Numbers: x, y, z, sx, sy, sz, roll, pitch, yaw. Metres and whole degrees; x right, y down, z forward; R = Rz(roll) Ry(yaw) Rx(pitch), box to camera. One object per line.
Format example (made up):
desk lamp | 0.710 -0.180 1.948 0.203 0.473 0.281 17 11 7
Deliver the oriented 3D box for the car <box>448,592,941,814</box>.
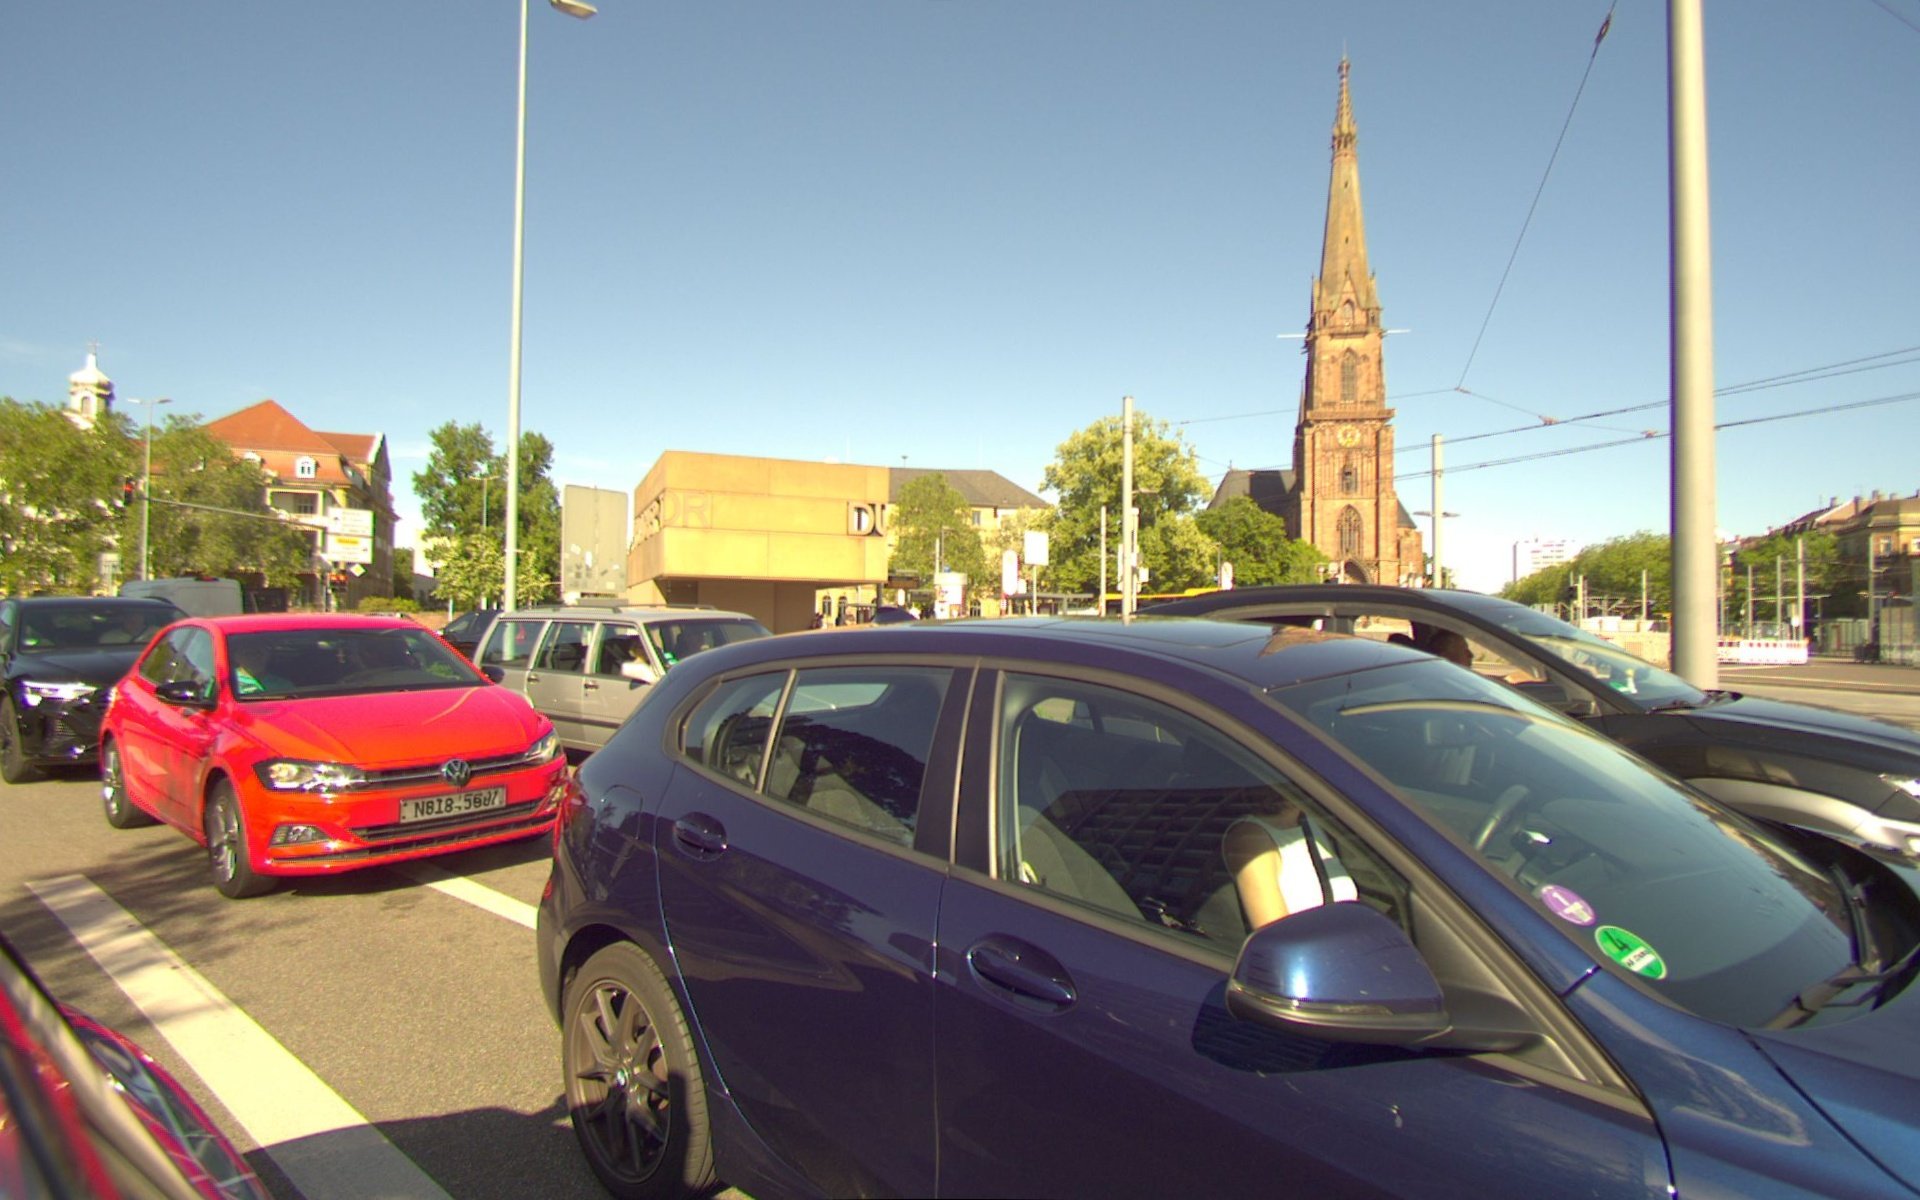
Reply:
car | -2.549 0.743 8.971 4.745 1.484 1.692 -2 0 38

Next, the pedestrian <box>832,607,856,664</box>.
pedestrian | -3.677 1.114 32.077 0.659 1.802 0.645 0 0 3

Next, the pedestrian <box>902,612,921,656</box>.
pedestrian | -1.990 1.404 41.786 0.634 1.789 0.470 1 -2 -29

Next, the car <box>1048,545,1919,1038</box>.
car | 2.528 0.618 4.780 4.010 1.529 1.738 -1 -1 44

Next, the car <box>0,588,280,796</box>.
car | -8.658 0.763 10.054 4.446 1.627 1.836 -1 -2 38

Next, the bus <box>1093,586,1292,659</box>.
bus | 10.715 1.106 48.888 2.715 3.088 12.201 1 -2 -23

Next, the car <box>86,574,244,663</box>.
car | -24.403 0.574 31.024 5.399 2.527 1.979 -1 -2 31

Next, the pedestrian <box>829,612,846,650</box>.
pedestrian | -5.750 1.450 47.371 0.468 1.789 0.638 -1 -2 36

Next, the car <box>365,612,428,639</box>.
car | -35.915 1.632 64.574 1.512 1.692 3.362 0 -2 16

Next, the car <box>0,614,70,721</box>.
car | -14.487 0.934 14.632 3.703 1.429 1.558 -1 0 34

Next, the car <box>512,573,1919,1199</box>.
car | 0.840 0.707 2.052 4.030 1.456 1.693 -1 0 42

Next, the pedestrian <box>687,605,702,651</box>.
pedestrian | -10.324 1.077 39.302 0.460 1.789 0.648 1 -2 -21

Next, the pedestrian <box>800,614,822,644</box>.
pedestrian | -6.455 1.253 43.845 0.635 1.320 0.764 1 -2 -40

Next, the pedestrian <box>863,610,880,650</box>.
pedestrian | -4.014 1.347 45.773 0.468 1.789 0.638 -1 -2 36

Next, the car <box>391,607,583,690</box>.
car | -10.459 1.022 22.333 4.057 1.672 1.851 -1 -2 31

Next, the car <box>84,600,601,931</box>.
car | -4.069 0.764 6.421 3.850 1.484 1.653 -1 -1 40

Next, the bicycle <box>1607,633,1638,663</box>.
bicycle | 26.777 1.924 40.881 1.232 1.182 0.471 1 -2 -26

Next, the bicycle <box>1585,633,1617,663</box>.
bicycle | 25.481 1.913 40.246 1.232 1.182 0.471 1 -2 -26

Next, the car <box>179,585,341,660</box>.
car | -23.514 0.743 33.914 6.191 2.331 2.095 -1 -1 31

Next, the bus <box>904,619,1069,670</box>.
bus | 0.657 1.149 26.834 4.174 1.251 1.627 -1 -2 35
